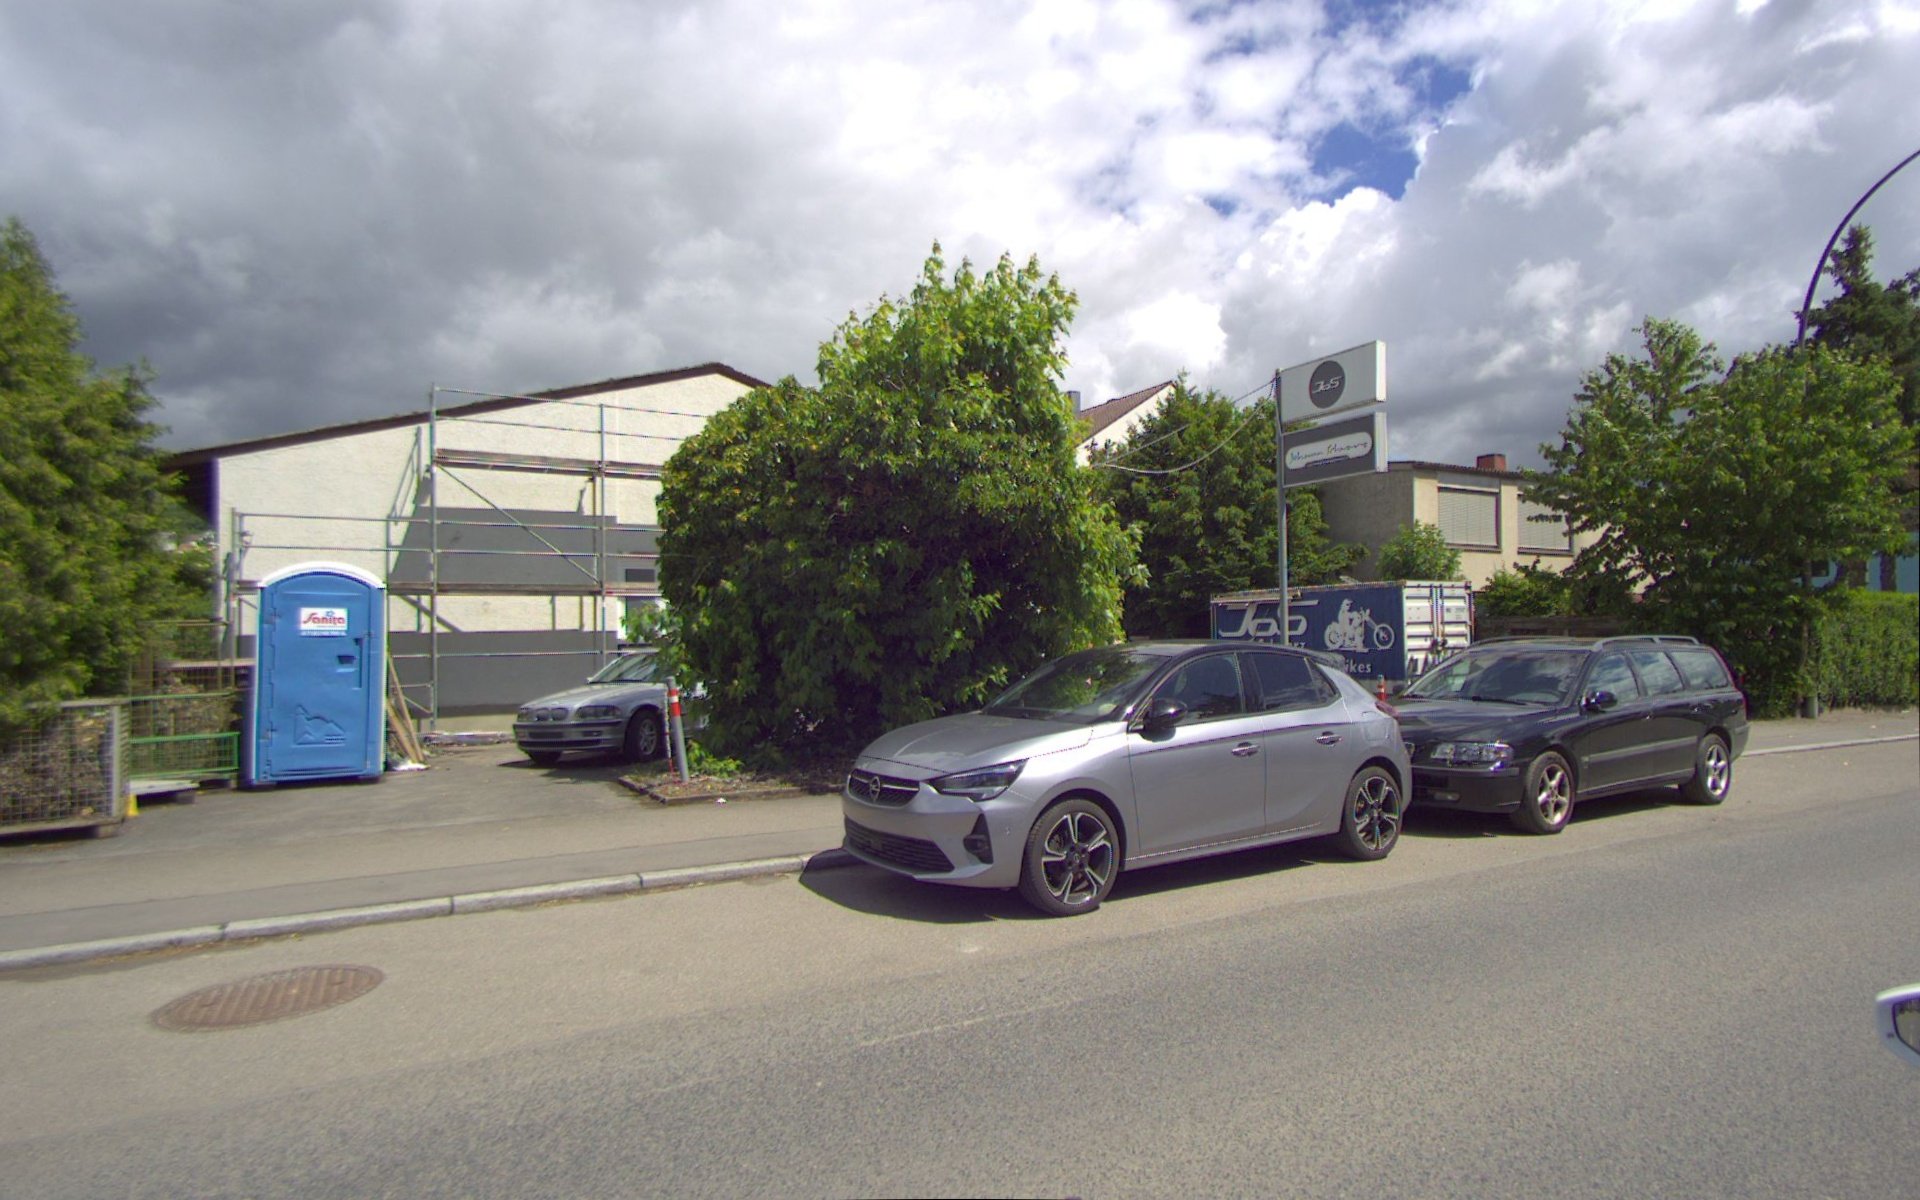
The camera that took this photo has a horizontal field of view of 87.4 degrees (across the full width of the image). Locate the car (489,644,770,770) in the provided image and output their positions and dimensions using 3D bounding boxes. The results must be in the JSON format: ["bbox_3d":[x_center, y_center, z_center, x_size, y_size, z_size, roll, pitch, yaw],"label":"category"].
[{"bbox_3d":[-4.146,1.348,13.365,1.854,1.405,4.004,-2,-4,10],"label":"car"}]

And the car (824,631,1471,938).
[{"bbox_3d":[1.350,0.962,6.664,4.152,1.450,1.711,1,-3,-32],"label":"car"}]

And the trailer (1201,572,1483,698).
[{"bbox_3d":[9.151,0.968,24.854,2.699,2.686,6.217,1,-4,-29],"label":"trailer"}]

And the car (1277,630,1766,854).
[{"bbox_3d":[5.077,1.049,8.875,4.682,1.512,1.711,1,-3,-32],"label":"car"}]

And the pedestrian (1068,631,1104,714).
[{"bbox_3d":[2.597,1.486,20.673,0.491,1.669,0.521,1,-3,-30],"label":"pedestrian"}]
